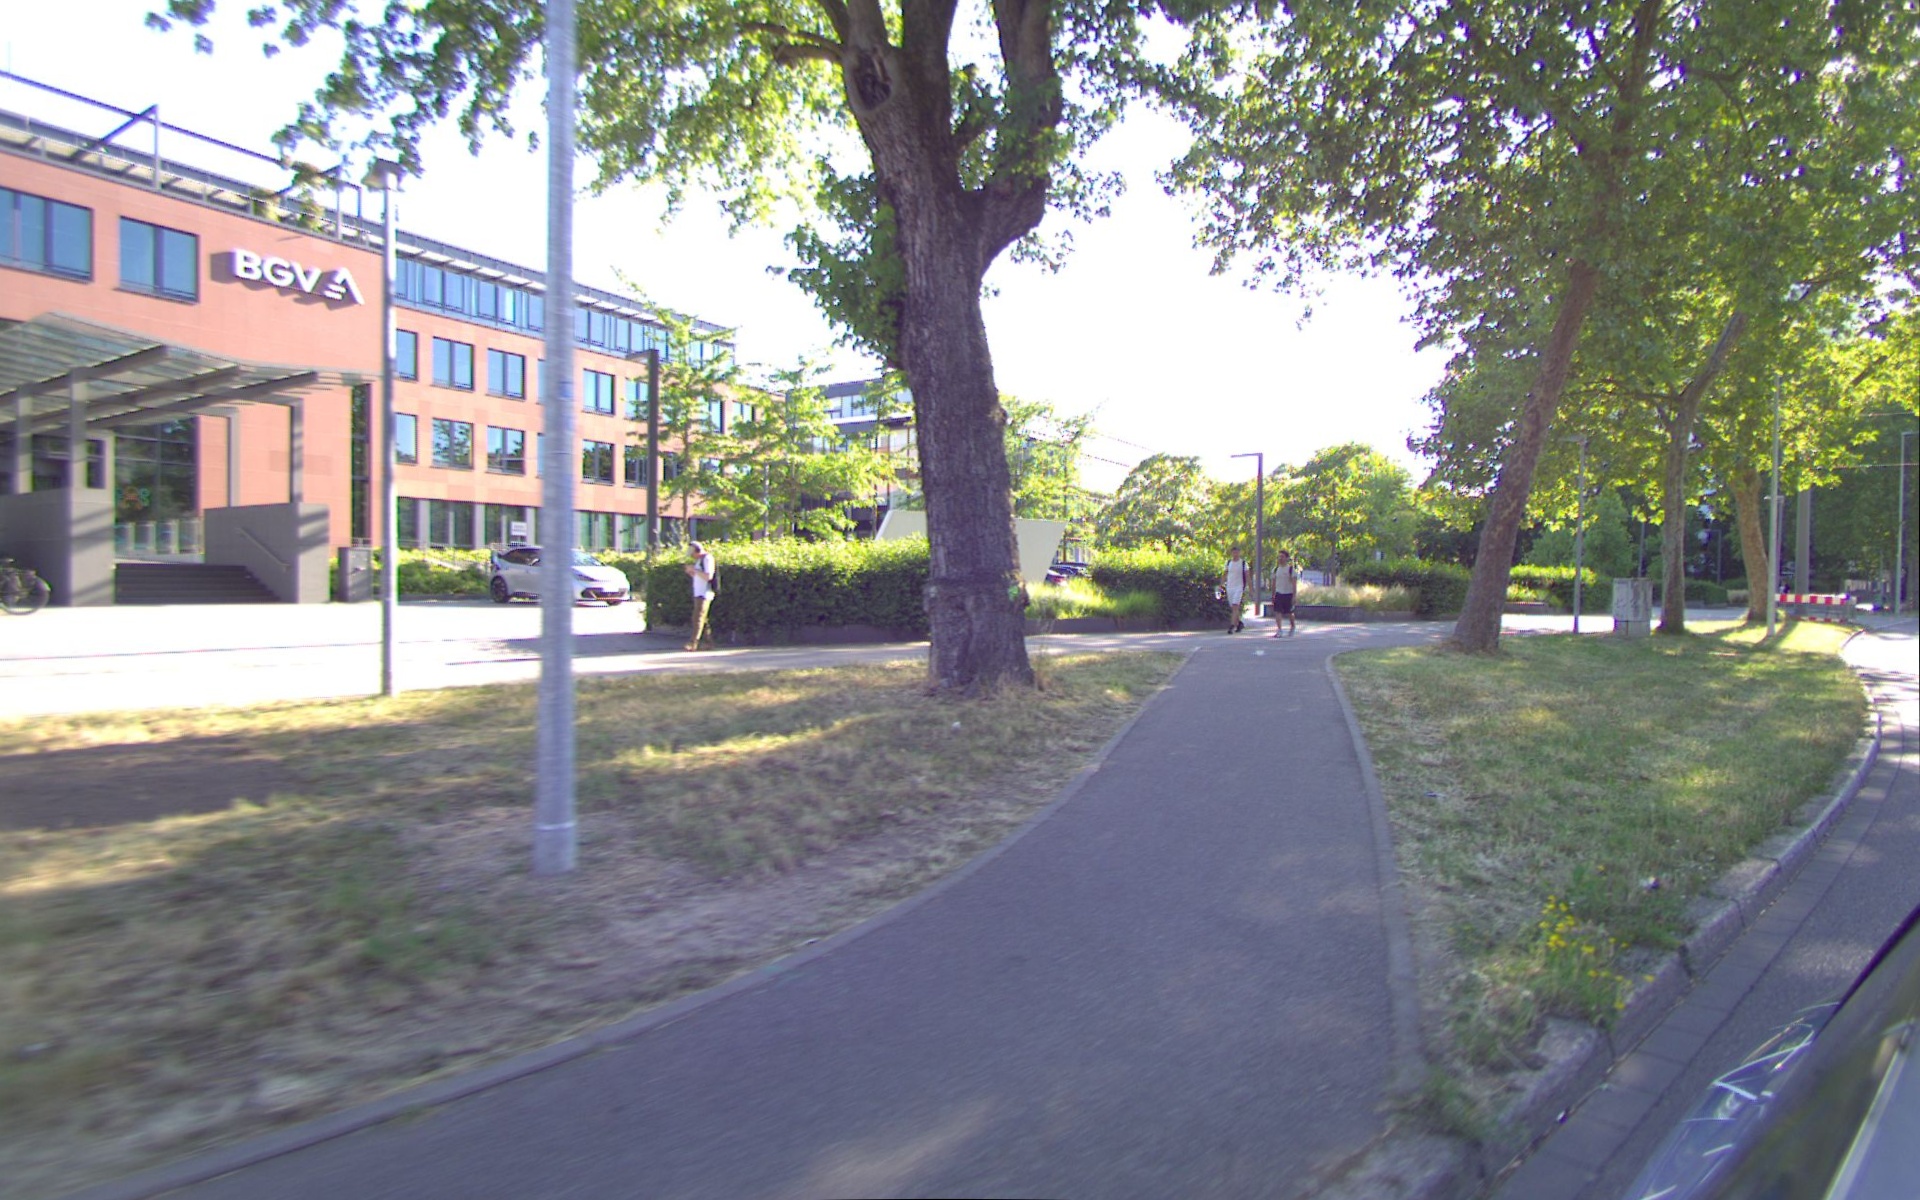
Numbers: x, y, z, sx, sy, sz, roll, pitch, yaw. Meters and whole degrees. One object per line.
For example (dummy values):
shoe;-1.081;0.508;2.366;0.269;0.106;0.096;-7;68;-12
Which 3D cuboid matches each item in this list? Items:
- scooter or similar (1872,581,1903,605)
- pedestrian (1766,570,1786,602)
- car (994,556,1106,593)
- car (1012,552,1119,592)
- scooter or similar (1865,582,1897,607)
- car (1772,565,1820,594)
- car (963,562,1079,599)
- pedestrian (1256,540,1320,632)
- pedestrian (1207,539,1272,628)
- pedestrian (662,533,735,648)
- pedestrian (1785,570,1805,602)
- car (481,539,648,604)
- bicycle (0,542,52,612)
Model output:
scooter or similar;49.065;-0.384;53.548;0.826;1.259;1.055;0;2;-38
pedestrian;44.271;-0.760;54.898;0.769;1.677;0.651;0;2;-41
car;4.041;-1.151;45.826;4.649;1.484;1.942;3;2;31
car;5.014;-1.345;48.261;4.649;1.735;2.050;3;2;31
scooter or similar;48.309;-0.309;53.086;0.826;1.259;1.055;0;2;-38
car;73.824;-1.798;89.340;6.232;2.531;1.998;-1;0;-39
car;2.612;-0.866;43.878;4.649;1.400;1.952;3;2;31
pedestrian;6.681;-0.307;20.611;1.067;1.815;0.752;0;3;-41
pedestrian;5.907;-0.355;21.354;1.090;1.815;0.807;0;3;-40
pedestrian;-3.647;-0.146;14.122;0.769;1.558;0.651;0;3;-41
pedestrian;44.784;-0.741;54.273;0.727;1.677;0.629;0;2;-41
car;-10.549;-0.783;26.957;4.138;1.525;1.980;3;2;29
bicycle;-16.723;-0.400;17.210;1.896;1.170;0.822;-1;3;-42
